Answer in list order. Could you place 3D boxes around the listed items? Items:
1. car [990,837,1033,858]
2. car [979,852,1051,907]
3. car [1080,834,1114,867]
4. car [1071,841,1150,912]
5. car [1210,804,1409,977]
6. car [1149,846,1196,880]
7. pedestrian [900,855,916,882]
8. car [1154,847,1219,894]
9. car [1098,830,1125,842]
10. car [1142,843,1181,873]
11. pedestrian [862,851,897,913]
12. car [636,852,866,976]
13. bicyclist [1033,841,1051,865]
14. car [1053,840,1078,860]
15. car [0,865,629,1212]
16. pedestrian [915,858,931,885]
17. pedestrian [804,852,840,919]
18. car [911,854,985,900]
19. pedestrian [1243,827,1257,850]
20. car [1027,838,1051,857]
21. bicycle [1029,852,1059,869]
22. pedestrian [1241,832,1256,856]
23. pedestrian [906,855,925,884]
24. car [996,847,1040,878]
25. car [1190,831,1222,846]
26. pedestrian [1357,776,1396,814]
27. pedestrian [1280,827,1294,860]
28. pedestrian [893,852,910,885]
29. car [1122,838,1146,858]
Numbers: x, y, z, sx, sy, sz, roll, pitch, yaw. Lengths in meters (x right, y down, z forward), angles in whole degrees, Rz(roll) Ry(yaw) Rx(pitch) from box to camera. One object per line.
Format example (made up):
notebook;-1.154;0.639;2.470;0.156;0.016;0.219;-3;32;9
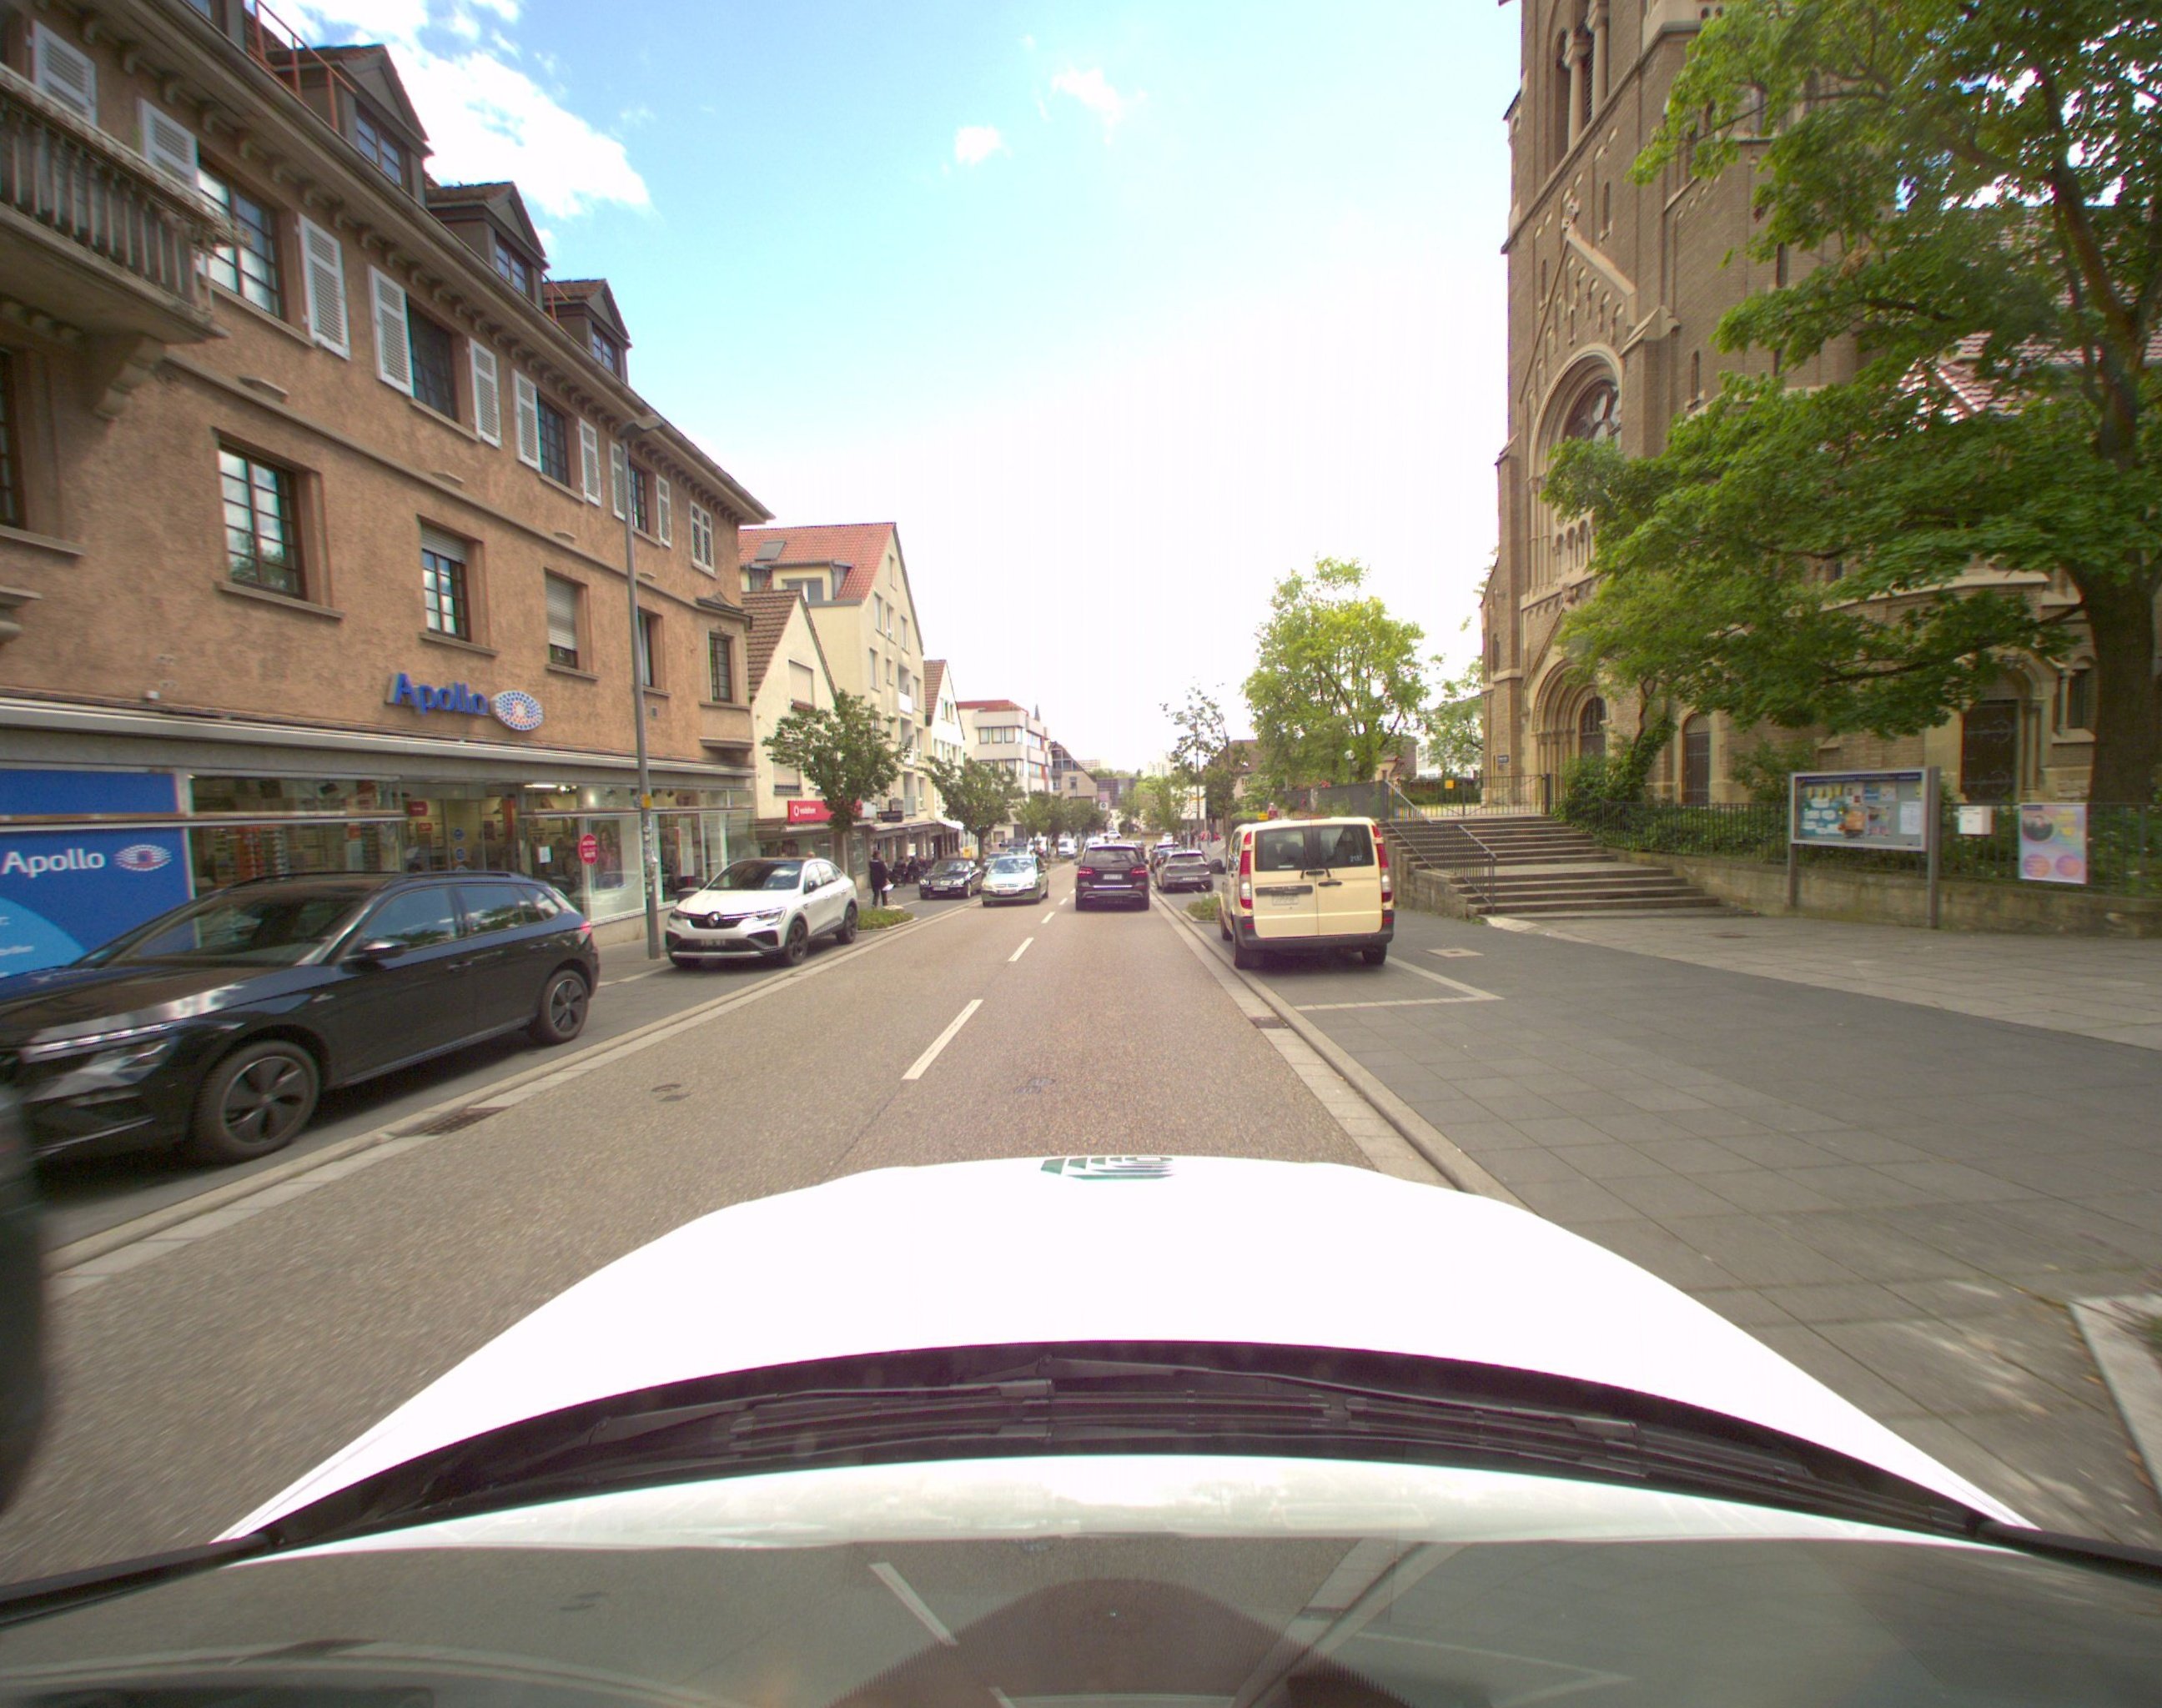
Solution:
car;-6.899;-0.638;81.183;3.977;1.749;1.999;-4;0;-2
car;-1.981;0.719;25.570;1.806;1.508;4.001;-3;0;1
car;1.303;-0.270;63.812;2.163;2.364;4.631;-4;0;6
car;0.827;0.537;22.281;1.936;1.740;4.181;0;1;2
car;3.016;0.387;11.823;1.928;1.891;4.715;-4;1;6
car;4.445;0.392;40.178;1.930;1.457;4.710;-4;1;3
pedestrian;-8.426;0.681;39.664;0.563;1.281;0.759;-1;0;1
car;3.742;0.528;29.697;1.930;1.457;4.710;-3;1;3
car;4.959;-2.960;133.830;4.070;2.013;1.994;0;0;-9
car;4.526;0.190;46.481;1.930;1.544;4.710;-2;1;3
pedestrian;-5.527;0.762;22.369;0.724;1.667;0.720;-1;0;1
car;-5.052;0.810;13.254;1.920;1.595;4.457;0;1;0
bicyclist;-2.730;-0.058;57.110;0.967;1.609;0.724;-4;0;-25
car;-1.343;-0.383;70.515;1.919;1.628;4.265;0;1;2
car;-5.471;0.927;5.957;1.921;1.496;4.260;-2;1;-1
pedestrian;-7.665;0.846;39.633;0.563;1.281;0.759;-2;0;1
pedestrian;-6.563;0.786;20.694;0.638;1.667;0.720;-1;0;1
car;-4.743;0.781;29.690;1.920;1.496;4.263;0;1;1
pedestrian;16.677;-1.506;80.440;1.003;2.151;1.073;-4;0;20
car;-3.747;-0.621;73.550;1.920;1.628;4.415;0;1;0
bicycle;-2.610;0.426;57.163;1.966;1.057;0.706;-4;0;-25
pedestrian;13.829;-0.830;67.382;1.043;1.913;0.939;-4;0;9
pedestrian;-7.770;0.722;38.283;0.684;1.281;0.676;-2;0;1
car;-3.517;0.435;46.258;1.919;1.628;4.265;-1;1;2
car;18.070;-2.212;117.464;4.190;2.029;1.779;-2;0;-14
pedestrian;10.155;-2.014;28.021;0.986;1.231;0.985;-2;0;4
pedestrian;10.079;-0.525;39.814;0.565;1.586;0.668;-2;0;10
pedestrian;-8.442;0.685;38.338;0.571;1.534;0.676;-2;0;1
car;4.508;-0.536;69.274;1.919;1.628;4.265;0;1;2
